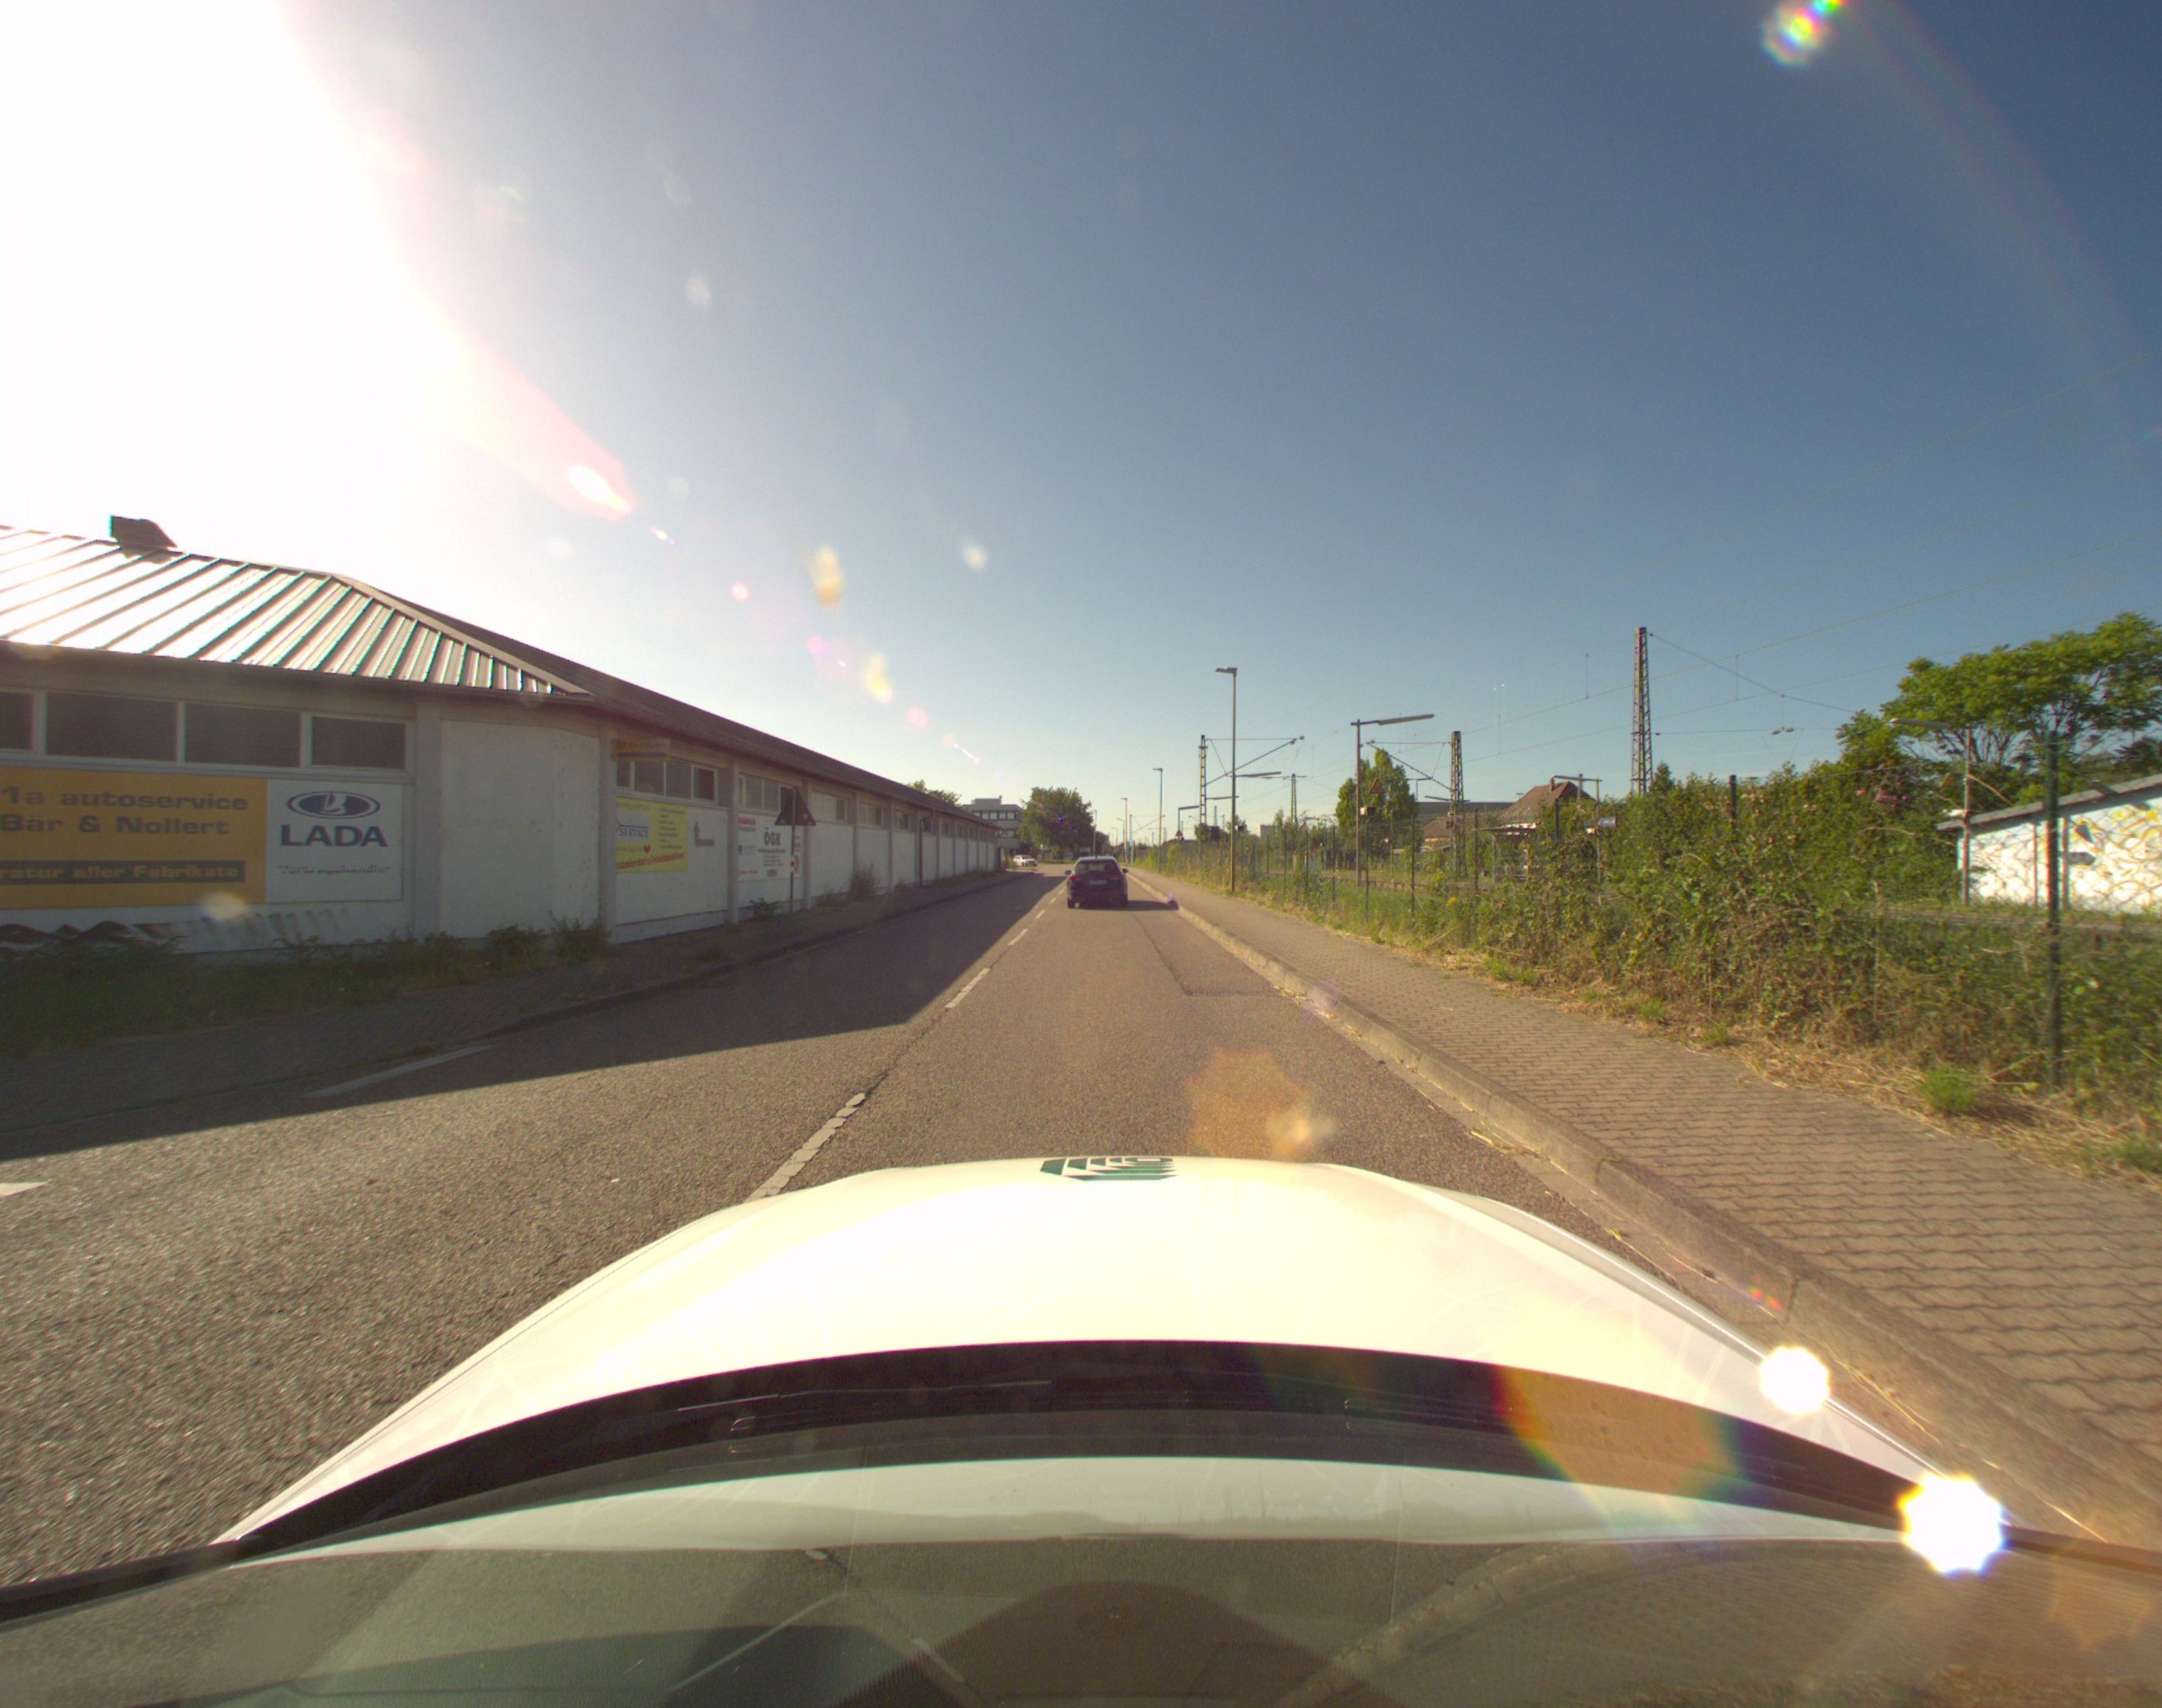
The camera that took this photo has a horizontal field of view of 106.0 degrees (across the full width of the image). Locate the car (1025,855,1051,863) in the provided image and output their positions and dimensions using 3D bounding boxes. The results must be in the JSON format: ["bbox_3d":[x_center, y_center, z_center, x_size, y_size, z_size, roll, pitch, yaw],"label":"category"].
[{"bbox_3d":[-8.360,0.901,158.391,4.886,1.484,2.003,0,1,5],"label":"car"}]

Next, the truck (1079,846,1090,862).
[{"bbox_3d":[0.837,0.069,202.673,2.605,3.885,13.526,1,0,-1],"label":"truck"}]

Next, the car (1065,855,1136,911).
[{"bbox_3d":[0.568,0.803,24.756,1.936,1.489,4.565,-1,0,1],"label":"car"}]
